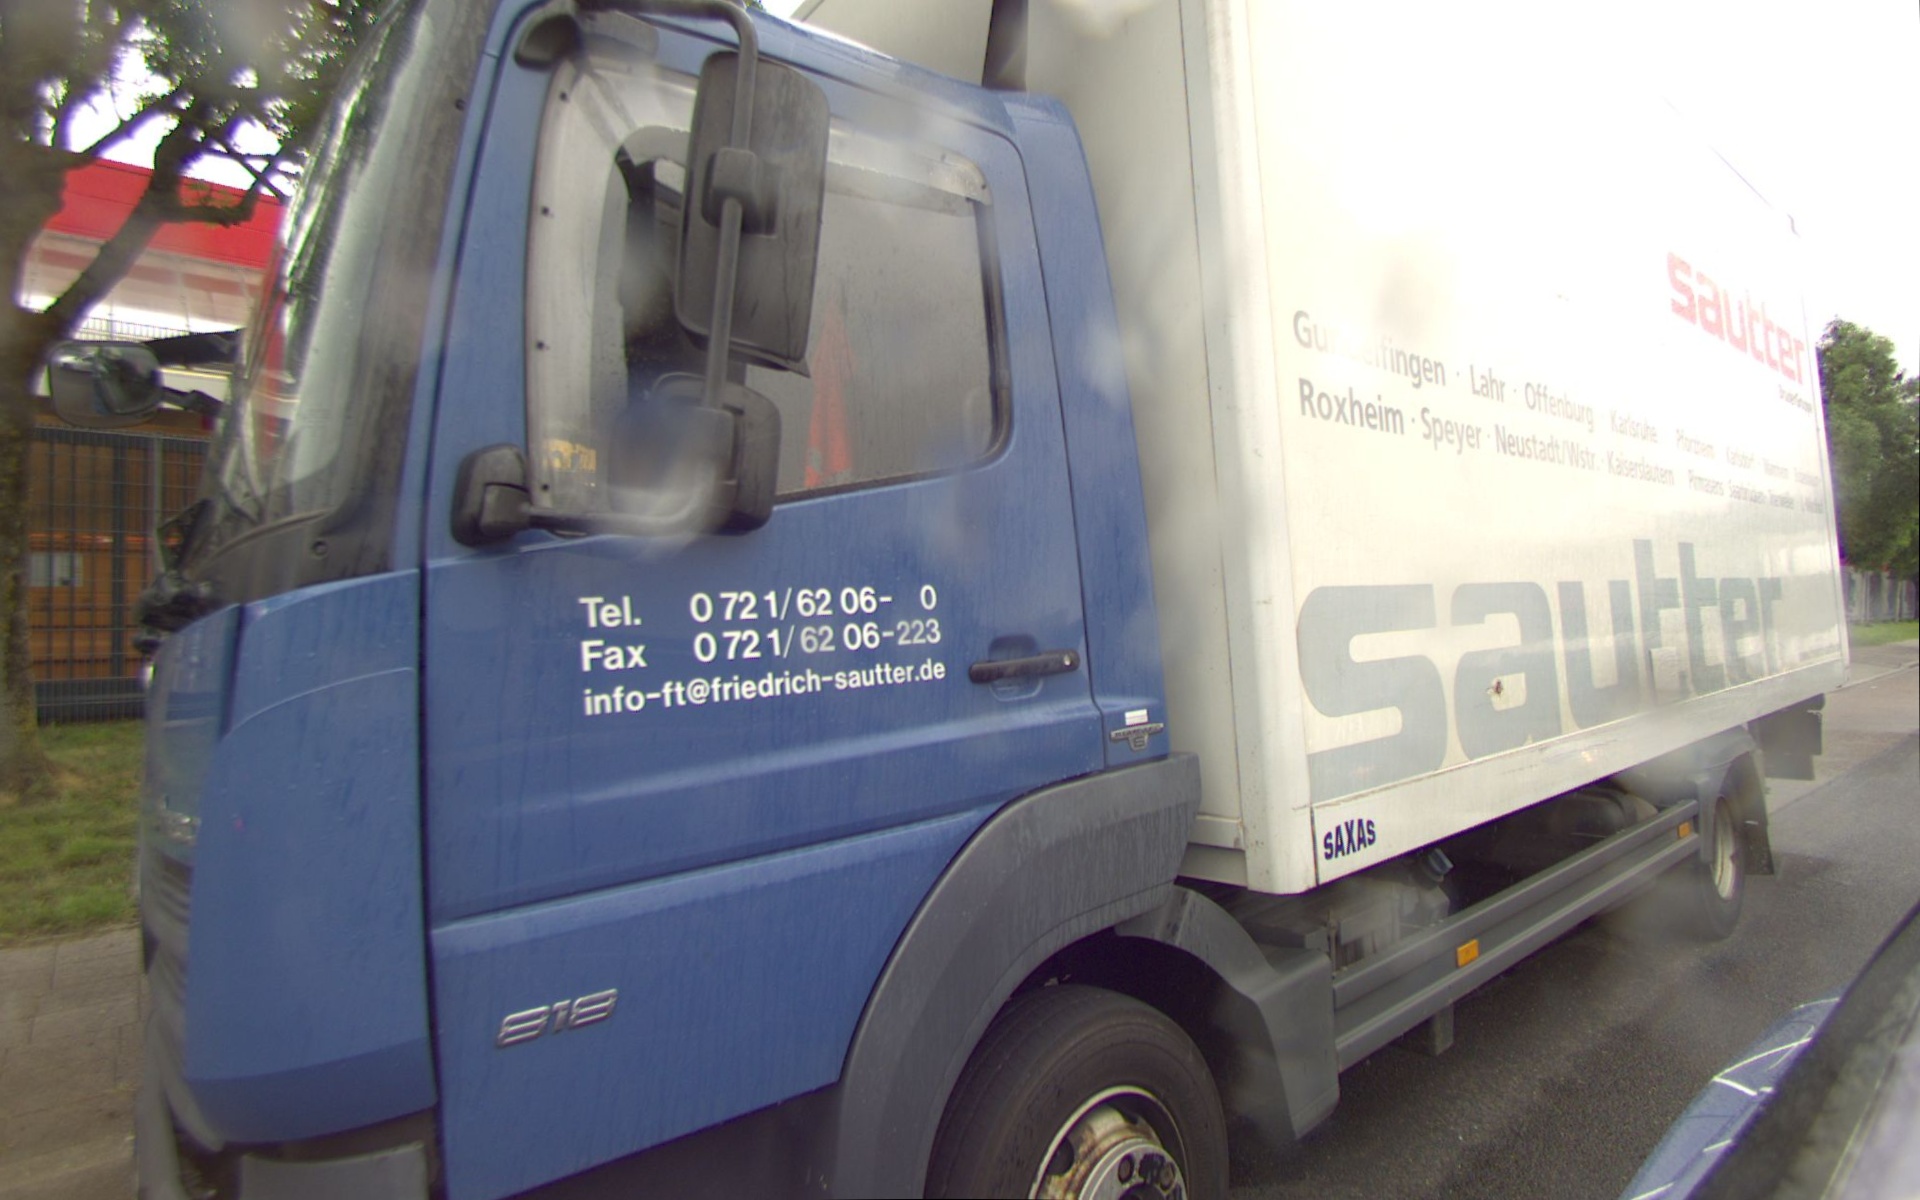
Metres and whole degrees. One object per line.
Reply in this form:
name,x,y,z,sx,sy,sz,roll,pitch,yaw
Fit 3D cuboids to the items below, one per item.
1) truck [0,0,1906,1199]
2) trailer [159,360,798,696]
truck,1.436,-0.385,4.234,7.867,3.740,2.676,0,-2,-40
trailer,-7.527,-1.040,17.102,9.306,4.295,2.972,-1,2,-41
